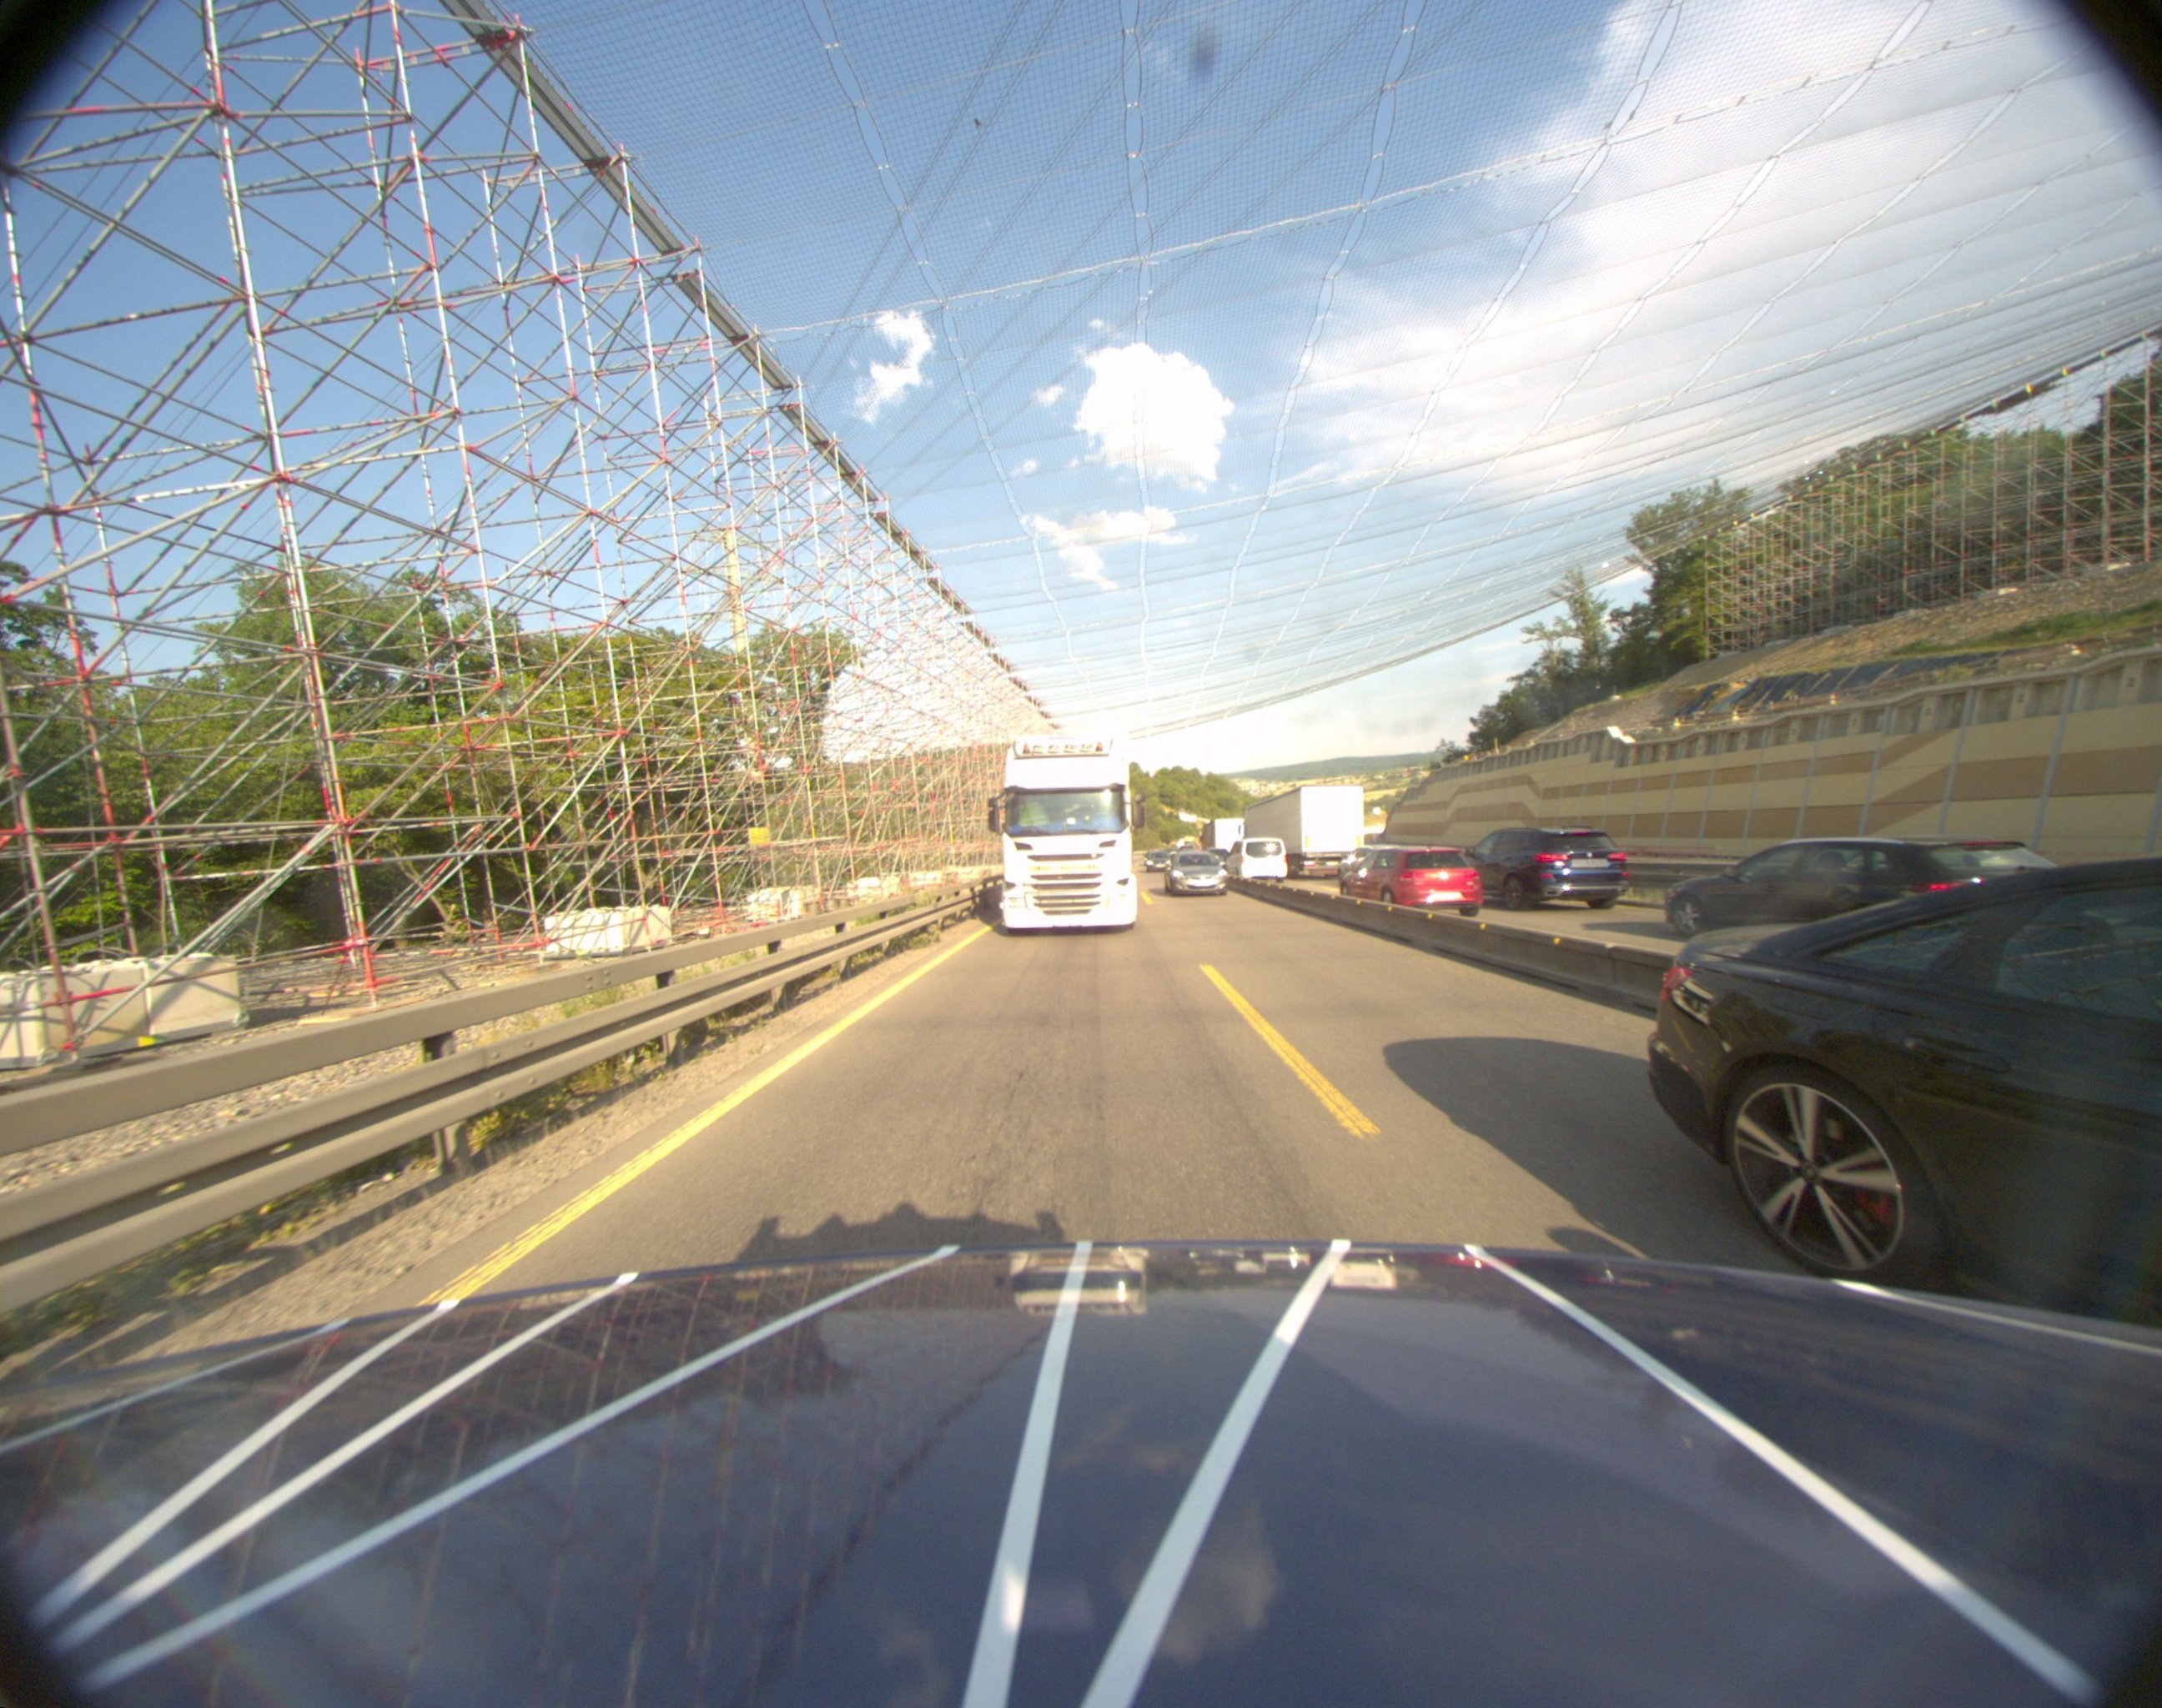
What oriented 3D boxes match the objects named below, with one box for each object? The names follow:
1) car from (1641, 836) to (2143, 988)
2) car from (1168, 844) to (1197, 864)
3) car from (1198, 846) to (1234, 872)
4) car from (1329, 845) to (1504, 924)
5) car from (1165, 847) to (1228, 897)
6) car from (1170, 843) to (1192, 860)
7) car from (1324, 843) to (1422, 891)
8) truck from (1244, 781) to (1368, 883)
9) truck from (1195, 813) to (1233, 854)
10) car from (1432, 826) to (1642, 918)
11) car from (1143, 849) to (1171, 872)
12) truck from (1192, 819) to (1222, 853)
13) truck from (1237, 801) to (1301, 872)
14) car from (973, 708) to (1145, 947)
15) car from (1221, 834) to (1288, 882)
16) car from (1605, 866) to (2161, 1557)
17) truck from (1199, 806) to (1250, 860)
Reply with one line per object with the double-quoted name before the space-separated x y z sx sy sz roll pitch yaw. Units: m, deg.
"car" 9.608 0.548 9.681 1.796 1.429 4.380 -2 1 2
"car" 8.543 -0.039 64.228 1.939 1.525 4.645 -2 1 2
"car" 8.520 0.270 48.087 1.586 1.543 4.218 -2 1 2
"car" 6.954 0.537 16.336 1.812 1.411 4.518 -2 1 1
"car" 3.781 0.532 25.422 1.759 1.464 4.354 -2 1 5
"car" 10.007 -0.284 76.101 1.939 1.510 4.979 -2 1 5
"car" 10.460 0.395 27.632 1.796 1.531 4.909 -2 1 2
"truck" 11.062 -1.021 39.271 2.728 4.202 14.168 -2 1 3
"truck" 16.213 -2.411 93.952 2.993 4.532 17.411 -2 1 5
"car" 9.940 0.321 17.133 1.828 1.717 4.936 -2 1 1
"car" 5.204 0.430 51.885 1.764 1.376 3.824 -2 1 6
"truck" 18.930 -2.638 115.051 2.993 4.532 17.411 -2 1 5
"truck" 11.270 -1.037 45.987 2.522 3.885 6.049 -2 1 3
"car" -0.196 -0.504 17.478 2.858 4.092 8.281 -2 1 3
"car" 7.451 0.112 33.177 1.812 1.858 5.281 -2 1 2
"car" 3.282 0.799 0.892 1.939 1.390 4.961 -3 0 1
"truck" 13.787 -1.911 74.358 2.993 4.532 17.411 -2 1 5
